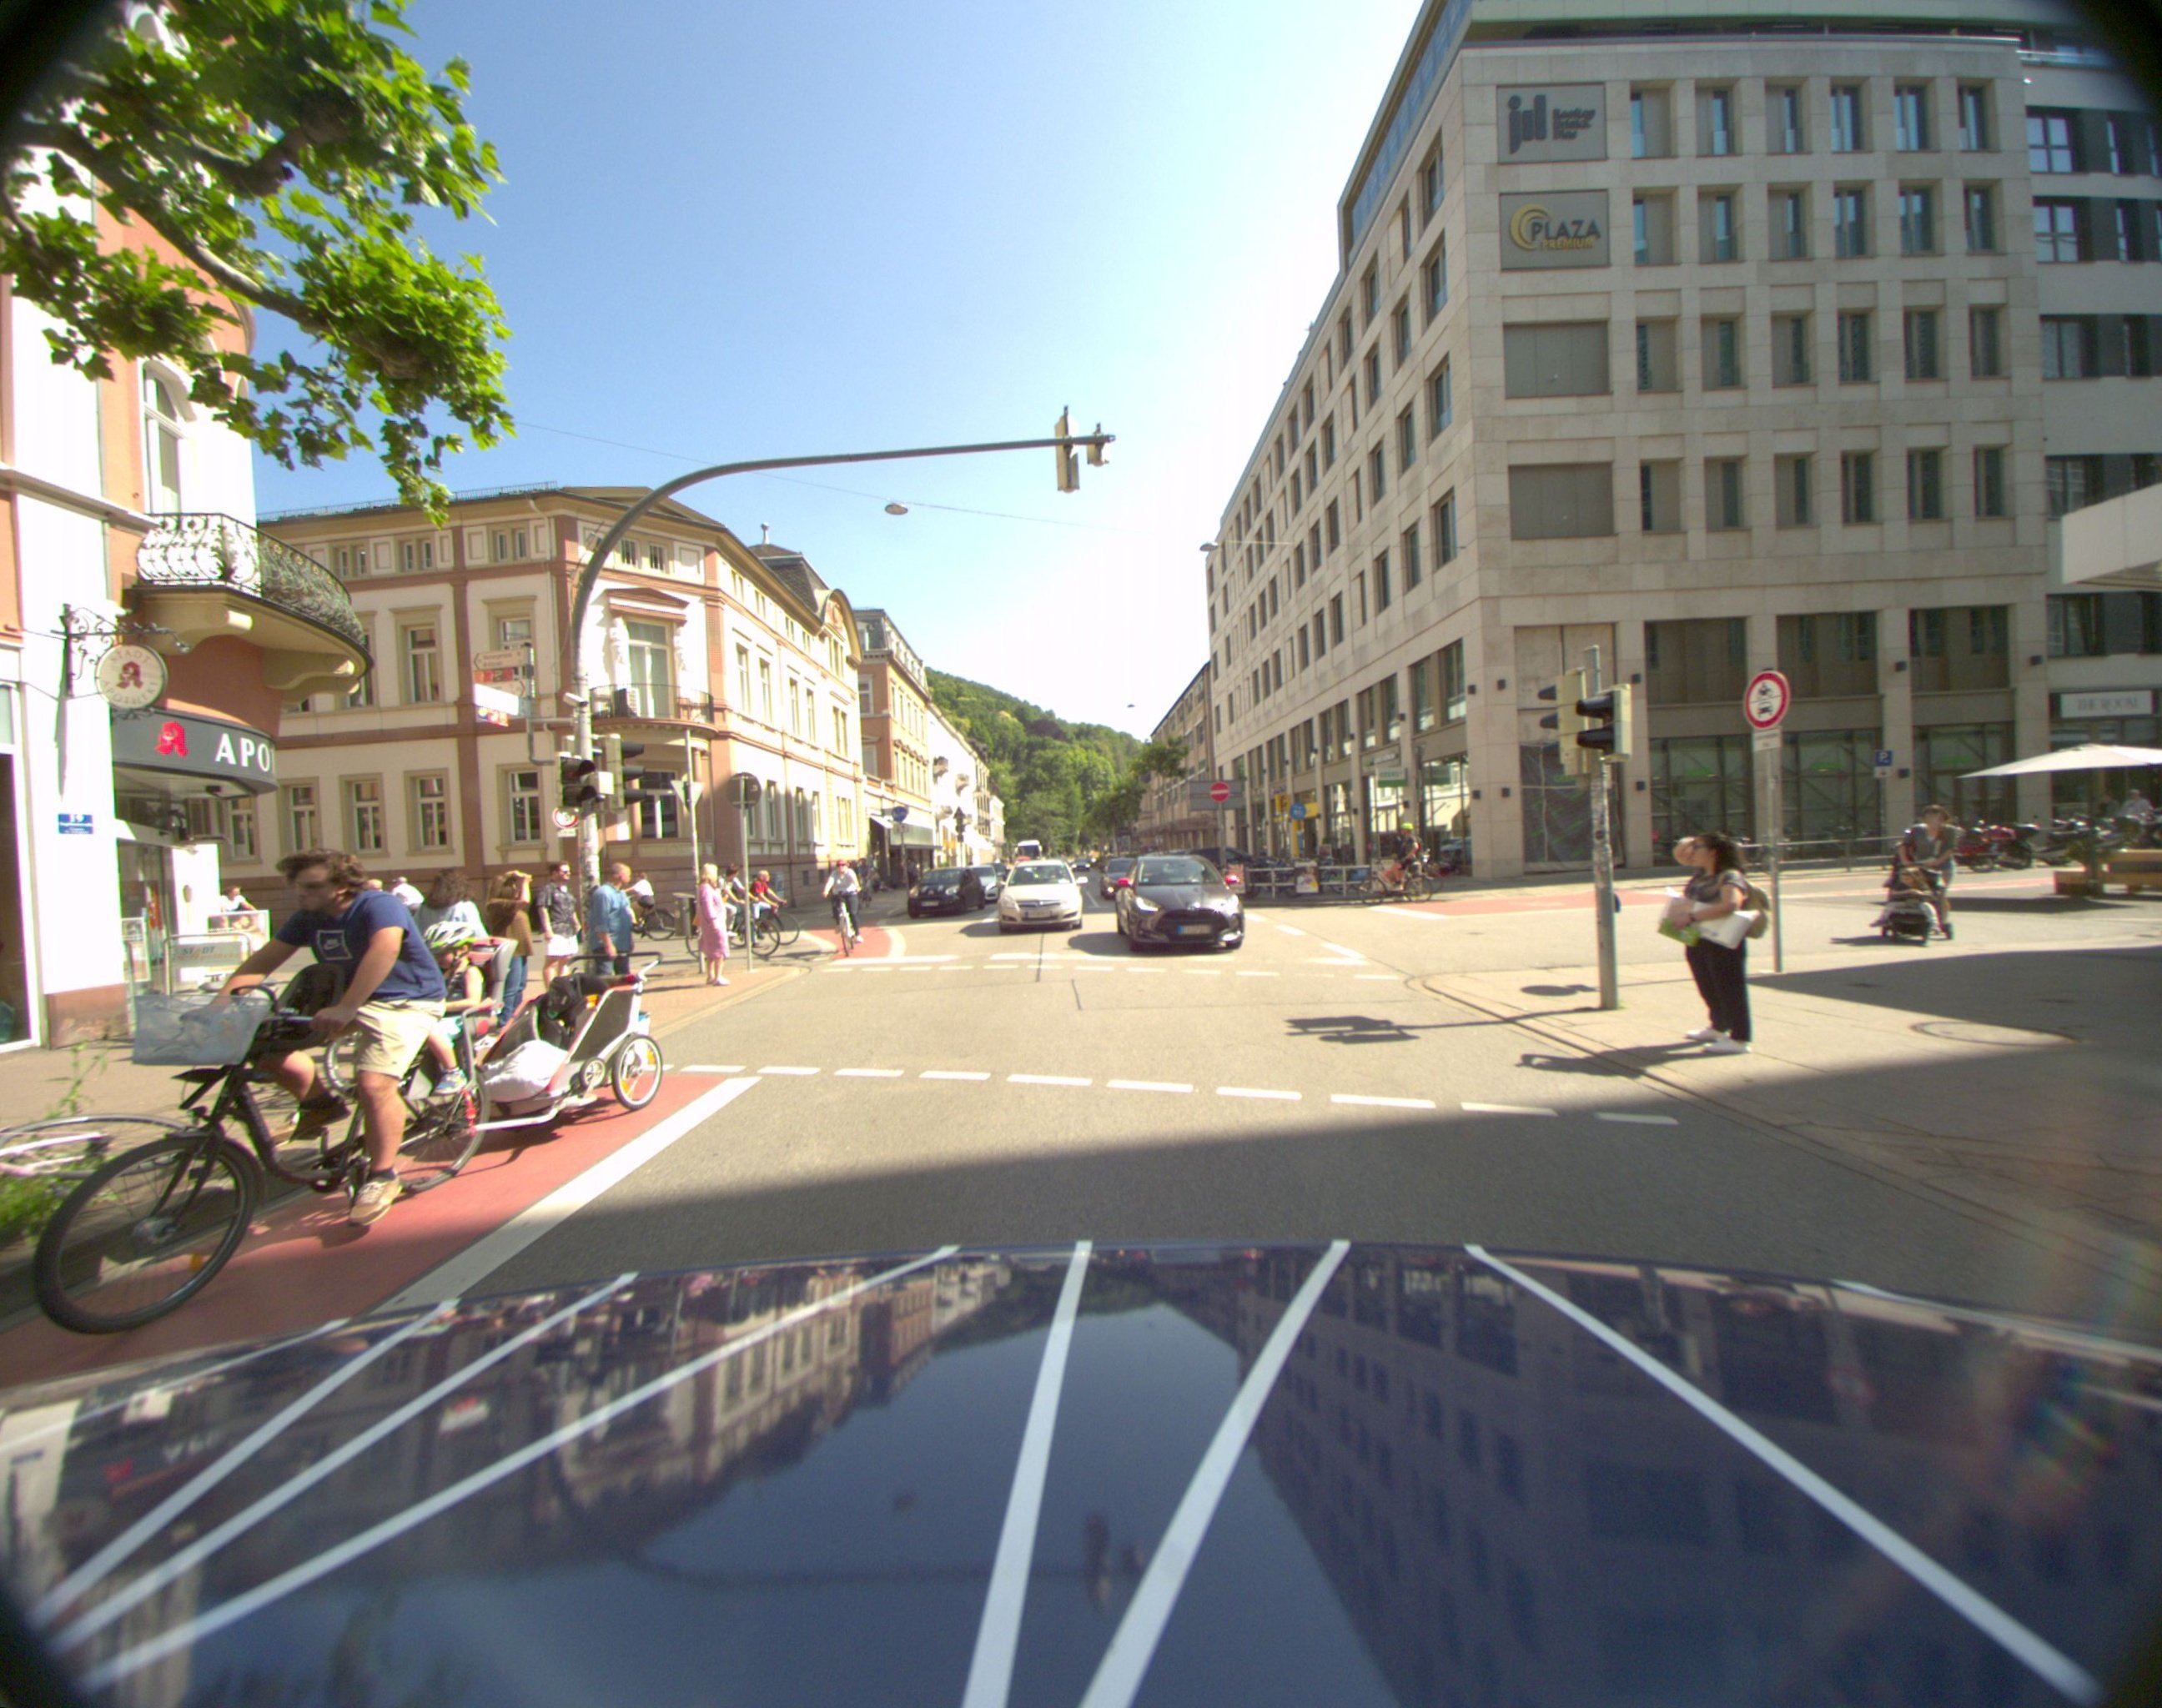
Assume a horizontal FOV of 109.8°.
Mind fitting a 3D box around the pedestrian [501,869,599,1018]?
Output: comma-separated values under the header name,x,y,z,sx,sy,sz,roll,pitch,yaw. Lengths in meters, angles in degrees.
name,x,y,z,sx,sy,sz,roll,pitch,yaw
pedestrian,-6.906,1.145,9.901,0.640,1.832,0.615,-4,2,11

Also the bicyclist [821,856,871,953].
name,x,y,z,sx,sy,sz,roll,pitch,yaw
bicyclist,-4.332,0.907,14.064,0.685,1.707,0.844,-3,1,-10

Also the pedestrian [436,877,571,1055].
name,x,y,z,sx,sy,sz,roll,pitch,yaw
pedestrian,-5.873,1.106,7.768,0.789,1.680,0.641,-3,0,-3

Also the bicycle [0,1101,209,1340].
name,x,y,z,sx,sy,sz,roll,pitch,yaw
bicycle,-5.552,1.804,3.649,1.142,0.432,1.850,8,4,-27

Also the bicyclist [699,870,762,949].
name,x,y,z,sx,sy,sz,roll,pitch,yaw
bicyclist,-6.477,1.017,14.059,0.861,1.403,0.501,-2,1,0

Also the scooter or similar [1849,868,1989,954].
name,x,y,z,sx,sy,sz,roll,pitch,yaw
scooter or similar,10.659,0.694,9.680,0.974,0.959,0.900,-4,1,-22

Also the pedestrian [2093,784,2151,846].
name,x,y,z,sx,sy,sz,roll,pitch,yaw
pedestrian,30.415,-1.126,22.206,0.767,1.748,0.667,-2,1,-1

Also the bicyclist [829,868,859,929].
name,x,y,z,sx,sy,sz,roll,pitch,yaw
bicyclist,-6.566,1.208,21.066,0.516,1.627,0.844,-2,1,-1

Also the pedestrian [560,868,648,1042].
name,x,y,z,sx,sy,sz,roll,pitch,yaw
pedestrian,-5.180,1.064,8.282,0.453,1.784,0.607,-4,1,-3

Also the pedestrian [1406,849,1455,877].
name,x,y,z,sx,sy,sz,roll,pitch,yaw
pedestrian,12.035,0.303,26.167,1.253,0.920,0.841,-3,1,-3

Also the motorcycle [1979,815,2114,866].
name,x,y,z,sx,sy,sz,roll,pitch,yaw
motorcycle,24.453,-0.309,19.295,0.655,1.166,2.059,-2,-1,-36

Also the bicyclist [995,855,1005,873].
name,x,y,z,sx,sy,sz,roll,pitch,yaw
bicyclist,-7.932,0.979,74.408,0.747,1.693,1.035,-2,1,-1

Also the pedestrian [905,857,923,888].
name,x,y,z,sx,sy,sz,roll,pitch,yaw
pedestrian,-9.928,1.092,45.201,0.840,1.781,0.767,-2,1,-1

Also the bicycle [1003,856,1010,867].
name,x,y,z,sx,sy,sz,roll,pitch,yaw
bicycle,-7.917,0.770,80.799,0.596,1.121,2.093,-1,2,0

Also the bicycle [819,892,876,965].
name,x,y,z,sx,sy,sz,roll,pitch,yaw
bicycle,-4.282,1.323,14.057,0.737,1.120,2.031,-3,1,-11

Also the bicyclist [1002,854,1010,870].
name,x,y,z,sx,sy,sz,roll,pitch,yaw
bicyclist,-7.915,0.839,80.552,0.747,1.564,0.844,-2,1,-1

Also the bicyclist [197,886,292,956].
name,x,y,z,sx,sy,sz,roll,pitch,yaw
bicyclist,-18.353,1.465,16.681,1.259,1.422,0.773,-3,0,7

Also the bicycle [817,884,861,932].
name,x,y,z,sx,sy,sz,roll,pitch,yaw
bicycle,-6.782,1.492,21.399,0.607,1.121,1.858,-1,4,0

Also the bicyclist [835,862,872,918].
name,x,y,z,sx,sy,sz,roll,pitch,yaw
bicyclist,-7.197,1.132,24.077,0.840,1.707,0.844,-2,1,-1

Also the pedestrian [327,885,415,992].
name,x,y,z,sx,sy,sz,roll,pitch,yaw
pedestrian,-11.430,1.333,12.246,0.640,1.648,0.791,-3,-2,10

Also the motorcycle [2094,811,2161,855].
name,x,y,z,sx,sy,sz,roll,pitch,yaw
motorcycle,27.979,-0.569,19.635,0.606,1.060,2.059,-4,0,-42

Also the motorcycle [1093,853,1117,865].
name,x,y,z,sx,sy,sz,roll,pitch,yaw
motorcycle,2.877,0.616,91.181,0.980,1.342,3.095,-3,1,-44

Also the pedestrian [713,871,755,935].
name,x,y,z,sx,sy,sz,roll,pitch,yaw
pedestrian,-9.458,1.311,20.701,0.904,1.603,0.974,-3,4,-30

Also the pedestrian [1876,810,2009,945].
name,x,y,z,sx,sy,sz,roll,pitch,yaw
pedestrian,11.212,0.290,9.906,0.845,1.649,0.840,-3,0,-20

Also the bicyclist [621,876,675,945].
name,x,y,z,sx,sy,sz,roll,pitch,yaw
bicyclist,-10.437,1.339,18.346,0.747,1.564,0.844,-2,1,-1

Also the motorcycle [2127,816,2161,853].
name,x,y,z,sx,sy,sz,roll,pitch,yaw
motorcycle,29.731,-0.567,20.294,0.708,0.933,2.060,-4,0,-34

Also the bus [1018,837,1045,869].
name,x,y,z,sx,sy,sz,roll,pitch,yaw
bus,-5.897,-0.228,92.127,2.924,3.516,12.495,-2,1,-3

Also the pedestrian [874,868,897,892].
name,x,y,z,sx,sy,sz,roll,pitch,yaw
pedestrian,-10.888,1.436,42.324,1.089,1.308,0.625,0,1,-2

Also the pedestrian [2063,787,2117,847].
name,x,y,z,sx,sy,sz,roll,pitch,yaw
pedestrian,30.381,-1.100,22.886,0.767,1.748,0.667,-2,1,-1

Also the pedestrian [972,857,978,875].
name,x,y,z,sx,sy,sz,roll,pitch,yaw
pedestrian,-10.438,1.180,74.735,0.482,1.659,0.868,-2,1,-2

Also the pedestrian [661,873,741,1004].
name,x,y,z,sx,sy,sz,roll,pitch,yaw
pedestrian,-5.291,1.148,10.630,0.641,1.700,0.789,-3,2,-3

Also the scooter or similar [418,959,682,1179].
name,x,y,z,sx,sy,sz,roll,pitch,yaw
scooter or similar,-3.336,1.315,4.908,0.785,1.054,1.126,-4,1,4

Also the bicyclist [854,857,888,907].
name,x,y,z,sx,sy,sz,roll,pitch,yaw
bicyclist,-7.527,0.986,27.287,0.910,1.707,0.844,-2,1,-1

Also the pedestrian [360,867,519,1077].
name,x,y,z,sx,sy,sz,roll,pitch,yaw
pedestrian,-5.888,1.046,7.018,0.789,1.784,0.641,-4,1,-3

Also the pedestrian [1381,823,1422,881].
name,x,y,z,sx,sy,sz,roll,pitch,yaw
pedestrian,10.880,-0.078,25.851,0.840,1.868,0.844,-7,1,-1

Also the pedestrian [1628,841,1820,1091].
name,x,y,z,sx,sy,sz,roll,pitch,yaw
pedestrian,4.392,0.715,5.229,0.641,1.550,0.680,-4,0,-13

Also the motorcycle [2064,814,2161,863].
name,x,y,z,sx,sy,sz,roll,pitch,yaw
motorcycle,26.742,-0.394,19.328,0.606,1.166,2.059,-4,0,-36

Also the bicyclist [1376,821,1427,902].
name,x,y,z,sx,sy,sz,roll,pitch,yaw
bicyclist,8.091,0.184,19.211,0.843,1.948,1.017,-3,1,5

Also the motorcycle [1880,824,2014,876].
name,x,y,z,sx,sy,sz,roll,pitch,yaw
motorcycle,21.418,-0.072,18.855,0.658,1.166,2.060,-1,-2,-28

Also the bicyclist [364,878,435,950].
name,x,y,z,sx,sy,sz,roll,pitch,yaw
bicyclist,-16.156,1.417,18.026,1.157,1.652,0.573,-1,0,3

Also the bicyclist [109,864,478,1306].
name,x,y,z,sx,sy,sz,roll,pitch,yaw
bicyclist,-3.360,0.895,3.320,0.732,1.664,0.775,-2,1,10

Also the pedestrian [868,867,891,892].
name,x,y,z,sx,sy,sz,roll,pitch,yaw
pedestrian,-11.023,1.375,41.633,1.032,1.308,0.625,-2,1,-2
